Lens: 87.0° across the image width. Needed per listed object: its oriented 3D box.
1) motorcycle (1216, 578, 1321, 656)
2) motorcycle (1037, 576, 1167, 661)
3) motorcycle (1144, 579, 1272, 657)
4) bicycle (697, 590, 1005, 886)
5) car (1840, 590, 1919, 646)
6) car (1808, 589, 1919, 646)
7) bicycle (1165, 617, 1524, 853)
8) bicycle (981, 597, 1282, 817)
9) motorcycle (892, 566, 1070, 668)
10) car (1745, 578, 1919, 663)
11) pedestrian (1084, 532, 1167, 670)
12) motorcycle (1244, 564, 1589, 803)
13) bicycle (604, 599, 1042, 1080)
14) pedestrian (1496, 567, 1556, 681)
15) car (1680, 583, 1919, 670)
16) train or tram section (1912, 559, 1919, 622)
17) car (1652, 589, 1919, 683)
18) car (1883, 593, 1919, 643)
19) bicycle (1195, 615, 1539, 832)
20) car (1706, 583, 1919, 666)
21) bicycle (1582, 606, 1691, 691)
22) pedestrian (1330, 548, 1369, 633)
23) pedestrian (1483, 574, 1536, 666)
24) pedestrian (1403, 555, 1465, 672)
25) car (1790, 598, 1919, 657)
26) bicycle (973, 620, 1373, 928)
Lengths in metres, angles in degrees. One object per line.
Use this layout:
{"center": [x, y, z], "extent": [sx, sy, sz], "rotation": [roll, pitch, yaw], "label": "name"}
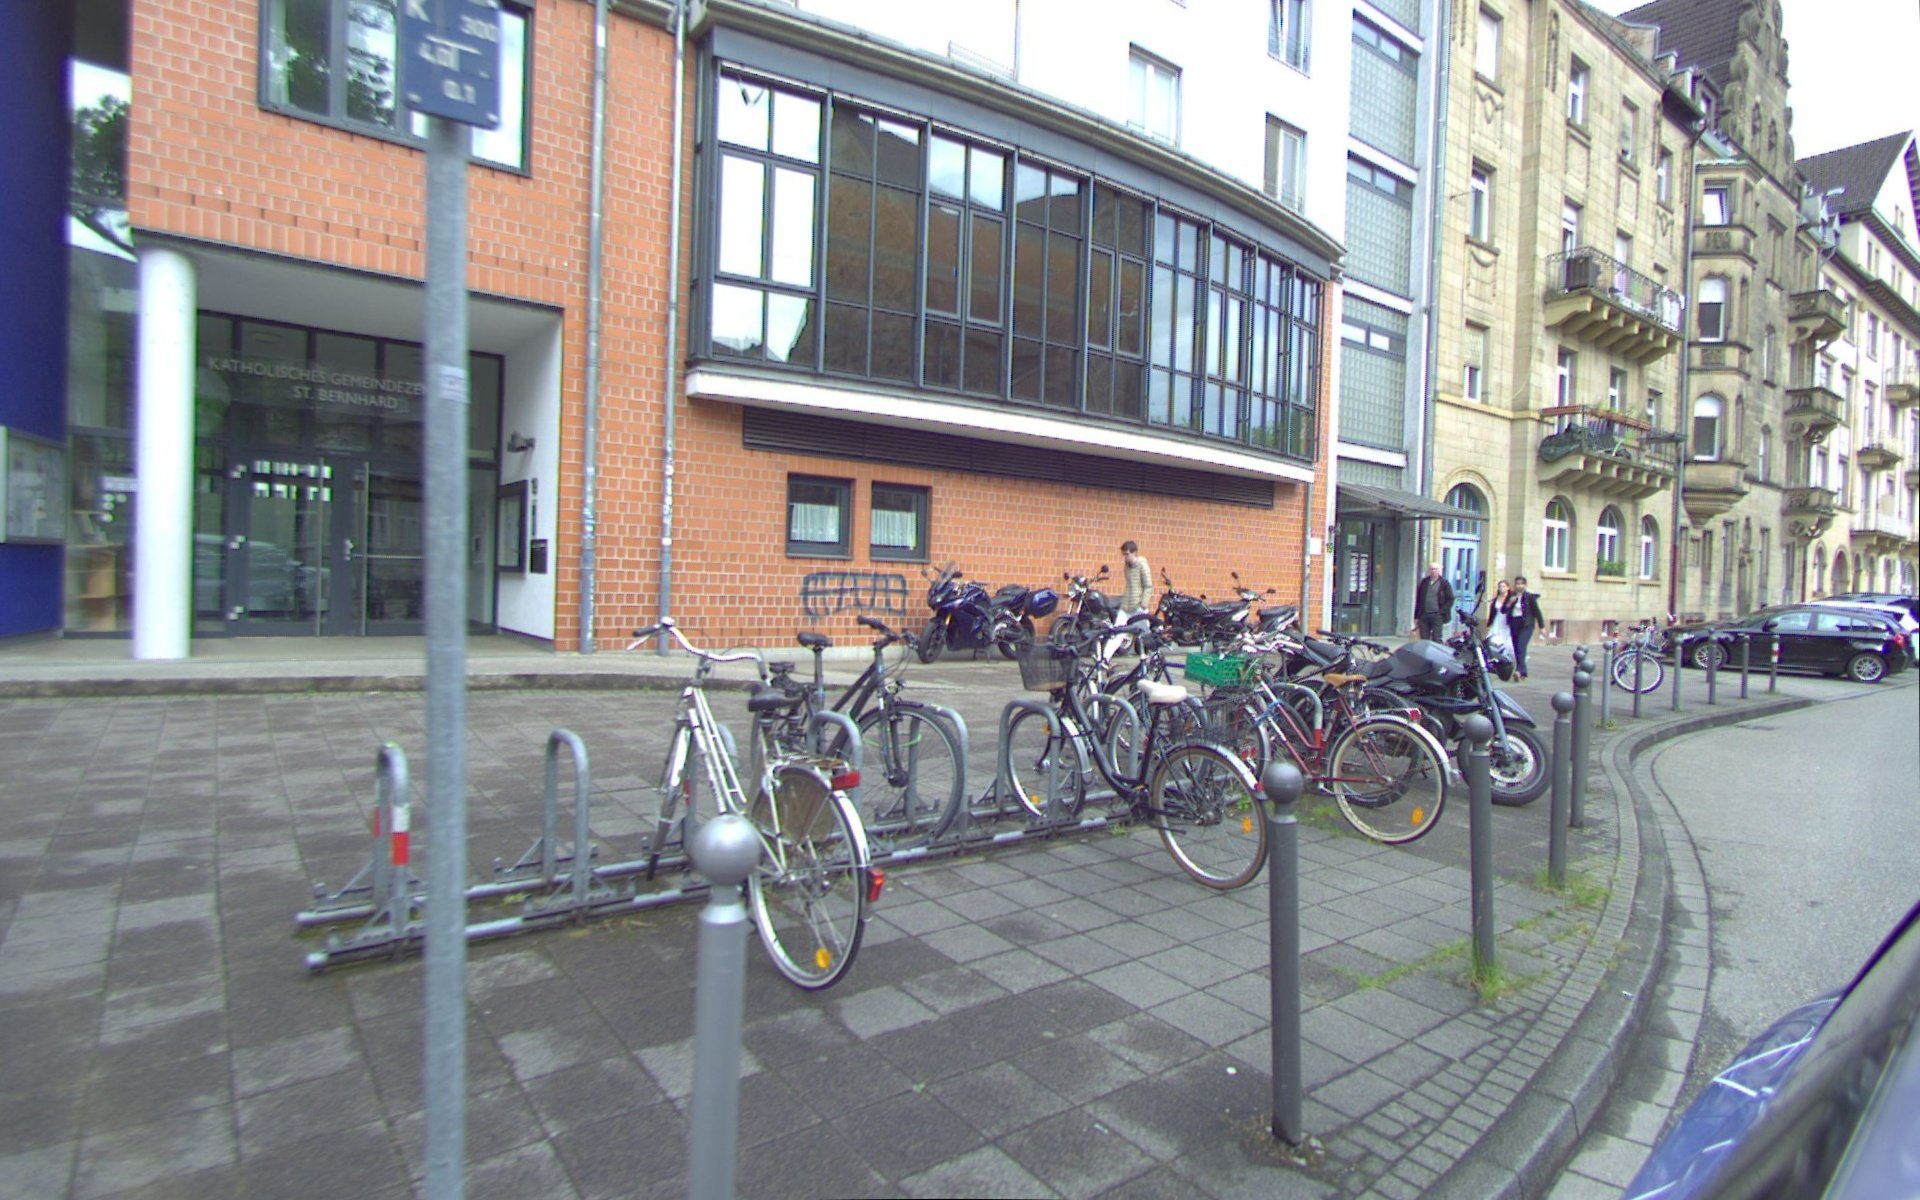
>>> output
{"center": [5.228, 0.290, 17.149], "extent": [1.533, 1.208, 0.604], "rotation": [3, 1, -14], "label": "motorcycle"}
{"center": [2.115, 0.253, 14.891], "extent": [2.032, 1.158, 0.603], "rotation": [0, 2, -38], "label": "motorcycle"}
{"center": [3.907, 0.276, 15.988], "extent": [1.843, 1.158, 0.604], "rotation": [2, 2, -12], "label": "motorcycle"}
{"center": [-0.638, 0.571, 5.145], "extent": [0.601, 1.155, 1.888], "rotation": [-1, 3, -40], "label": "bicycle"}
{"center": [33.151, 0.697, 34.151], "extent": [4.689, 1.705, 1.927], "rotation": [4, 3, 17], "label": "car"}
{"center": [30.275, 0.610, 32.340], "extent": [4.402, 1.593, 1.740], "rotation": [5, 2, 15], "label": "car"}
{"center": [2.192, 0.698, 6.037], "extent": [0.601, 1.056, 1.934], "rotation": [-1, 3, -40], "label": "bicycle"}
{"center": [1.000, 0.580, 6.406], "extent": [0.601, 1.090, 1.934], "rotation": [-1, 3, -40], "label": "bicycle"}
{"center": [0.299, 0.206, 13.446], "extent": [2.168, 1.217, 1.031], "rotation": [1, 2, -38], "label": "motorcycle"}
{"center": [23.711, 0.545, 26.662], "extent": [4.218, 1.930, 1.873], "rotation": [5, 2, 12], "label": "car"}
{"center": [2.217, 0.002, 13.567], "extent": [0.797, 1.774, 0.631], "rotation": [1, 4, -41], "label": "pedestrian"}
{"center": [3.224, 0.488, 7.372], "extent": [0.757, 1.447, 2.139], "rotation": [-1, 3, -40], "label": "motorcycle"}
{"center": [-0.600, 0.624, 3.544], "extent": [0.601, 1.155, 1.888], "rotation": [-1, 3, -40], "label": "bicycle"}
{"center": [8.671, 0.345, 15.494], "extent": [0.704, 1.682, 0.519], "rotation": [-1, 3, -41], "label": "pedestrian"}
{"center": [19.254, 0.551, 23.273], "extent": [3.959, 1.552, 1.916], "rotation": [5, 3, 24], "label": "car"}
{"center": [66.521, -0.441, 60.175], "extent": [3.579, 4.143, 15.070], "rotation": [0, 2, -11], "label": "train or tram section"}
{"center": [17.267, 0.701, 21.155], "extent": [4.210, 1.496, 1.673], "rotation": [5, 2, 21], "label": "car"}
{"center": [35.953, 0.745, 35.929], "extent": [4.172, 1.702, 1.905], "rotation": [3, 3, 19], "label": "car"}
{"center": [2.558, 0.704, 6.611], "extent": [0.601, 1.075, 2.014], "rotation": [-1, 3, -40], "label": "bicycle"}
{"center": [21.128, 0.571, 24.900], "extent": [3.942, 1.620, 1.759], "rotation": [5, 2, 13], "label": "car"}
{"center": [10.305, 0.710, 15.489], "extent": [0.718, 1.117, 1.731], "rotation": [3, 2, 11], "label": "bicycle"}
{"center": [8.321, -0.209, 21.622], "extent": [0.558, 1.765, 0.541], "rotation": [0, 1, -38], "label": "pedestrian"}
{"center": [9.447, 0.329, 17.405], "extent": [0.704, 1.528, 0.519], "rotation": [-1, 3, -41], "label": "pedestrian"}
{"center": [7.530, 0.200, 16.071], "extent": [0.531, 1.792, 0.645], "rotation": [-1, 4, -38], "label": "pedestrian"}
{"center": [28.208, 0.858, 30.564], "extent": [4.401, 1.571, 1.844], "rotation": [3, 2, 15], "label": "car"}
{"center": [0.908, 0.693, 4.836], "extent": [0.601, 1.056, 1.888], "rotation": [-1, 3, -40], "label": "bicycle"}
